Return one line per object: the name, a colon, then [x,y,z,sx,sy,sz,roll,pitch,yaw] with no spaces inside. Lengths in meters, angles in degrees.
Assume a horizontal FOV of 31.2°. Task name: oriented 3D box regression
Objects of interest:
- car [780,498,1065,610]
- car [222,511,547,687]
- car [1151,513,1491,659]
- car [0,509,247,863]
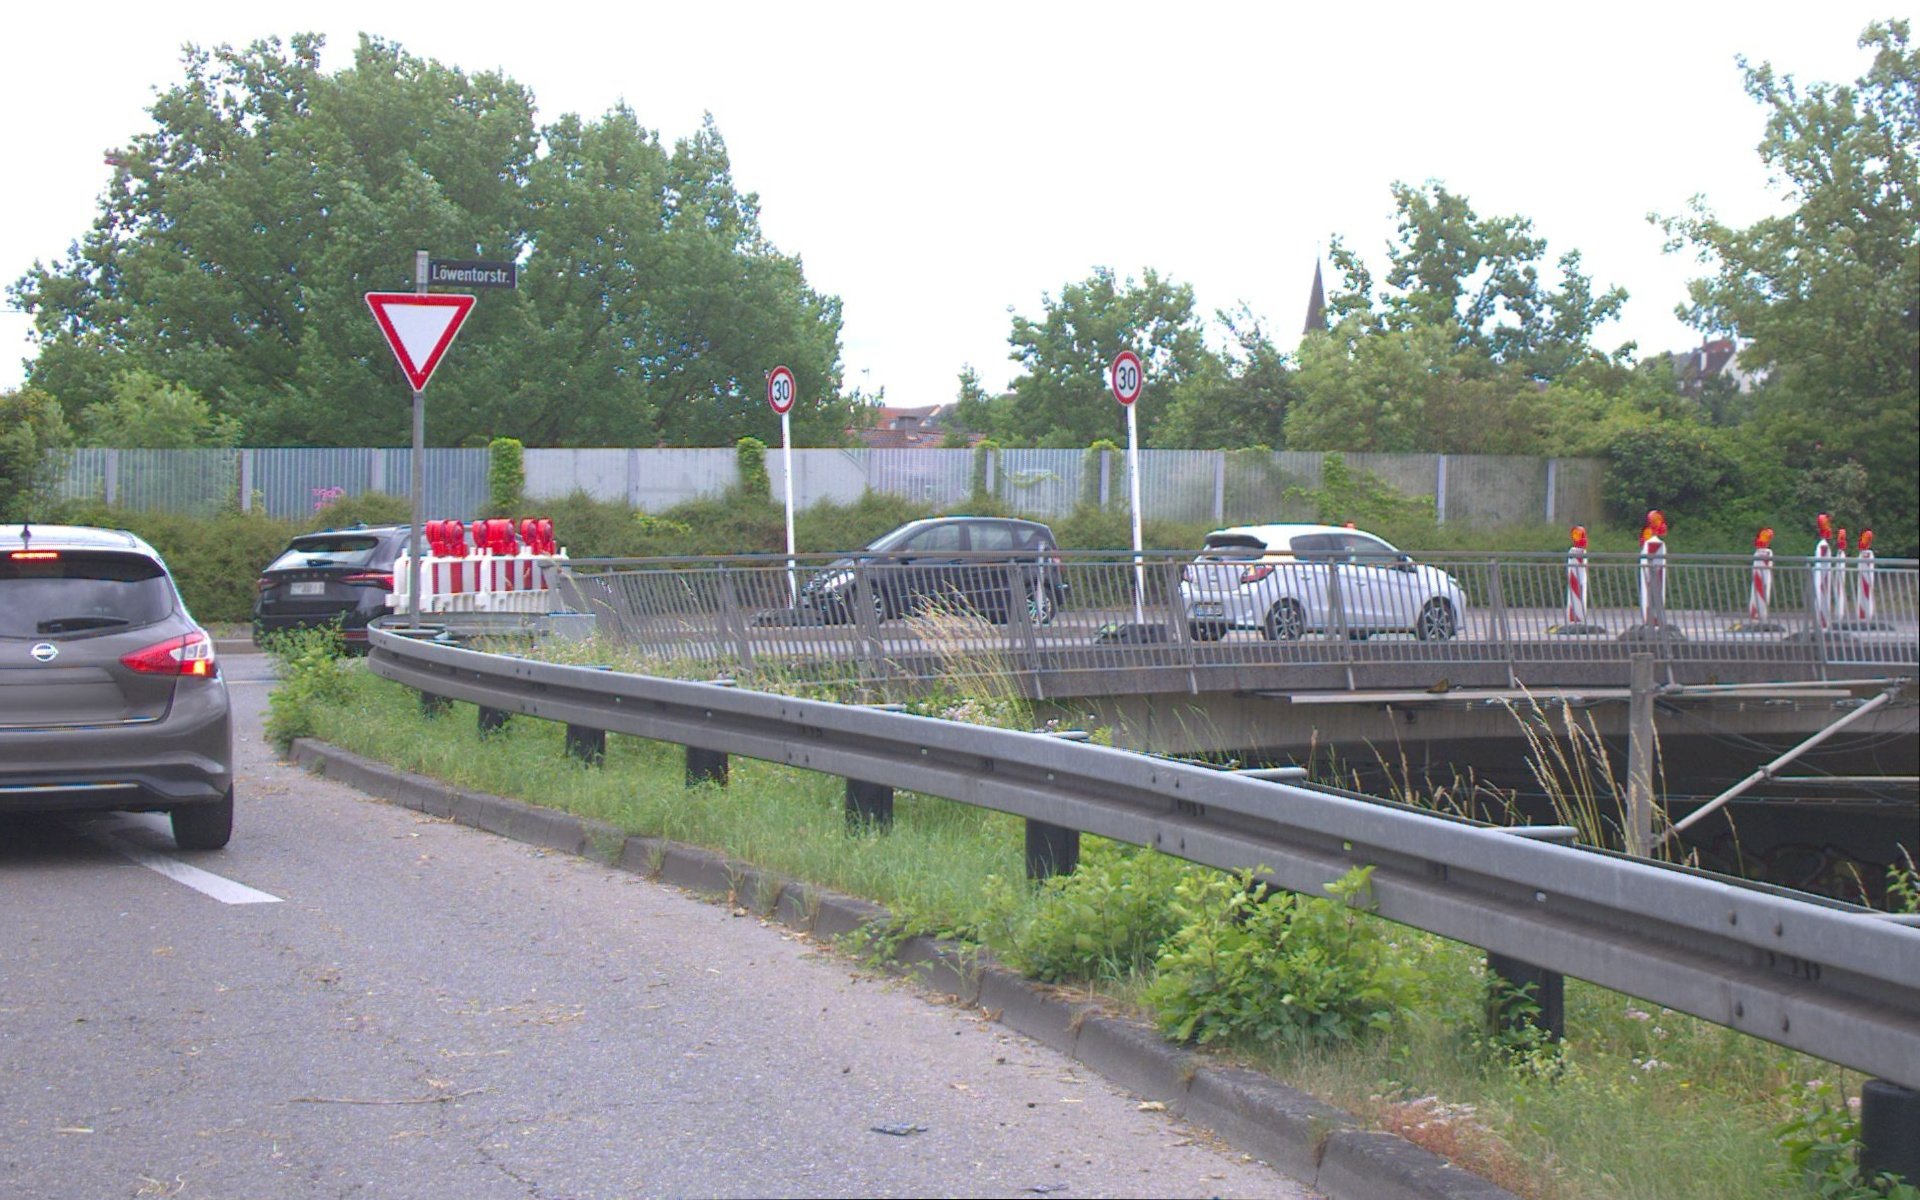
car: [-0.549,-0.646,49.751,3.775,1.547,1.644,0,-1,-20]
car: [-5.572,-0.006,33.753,1.820,1.547,3.786,3,0,12]
car: [4.473,-0.155,42.390,3.987,1.669,1.717,1,0,-35]
car: [-4.715,0.341,16.917,1.797,1.547,4.001,0,1,-20]
